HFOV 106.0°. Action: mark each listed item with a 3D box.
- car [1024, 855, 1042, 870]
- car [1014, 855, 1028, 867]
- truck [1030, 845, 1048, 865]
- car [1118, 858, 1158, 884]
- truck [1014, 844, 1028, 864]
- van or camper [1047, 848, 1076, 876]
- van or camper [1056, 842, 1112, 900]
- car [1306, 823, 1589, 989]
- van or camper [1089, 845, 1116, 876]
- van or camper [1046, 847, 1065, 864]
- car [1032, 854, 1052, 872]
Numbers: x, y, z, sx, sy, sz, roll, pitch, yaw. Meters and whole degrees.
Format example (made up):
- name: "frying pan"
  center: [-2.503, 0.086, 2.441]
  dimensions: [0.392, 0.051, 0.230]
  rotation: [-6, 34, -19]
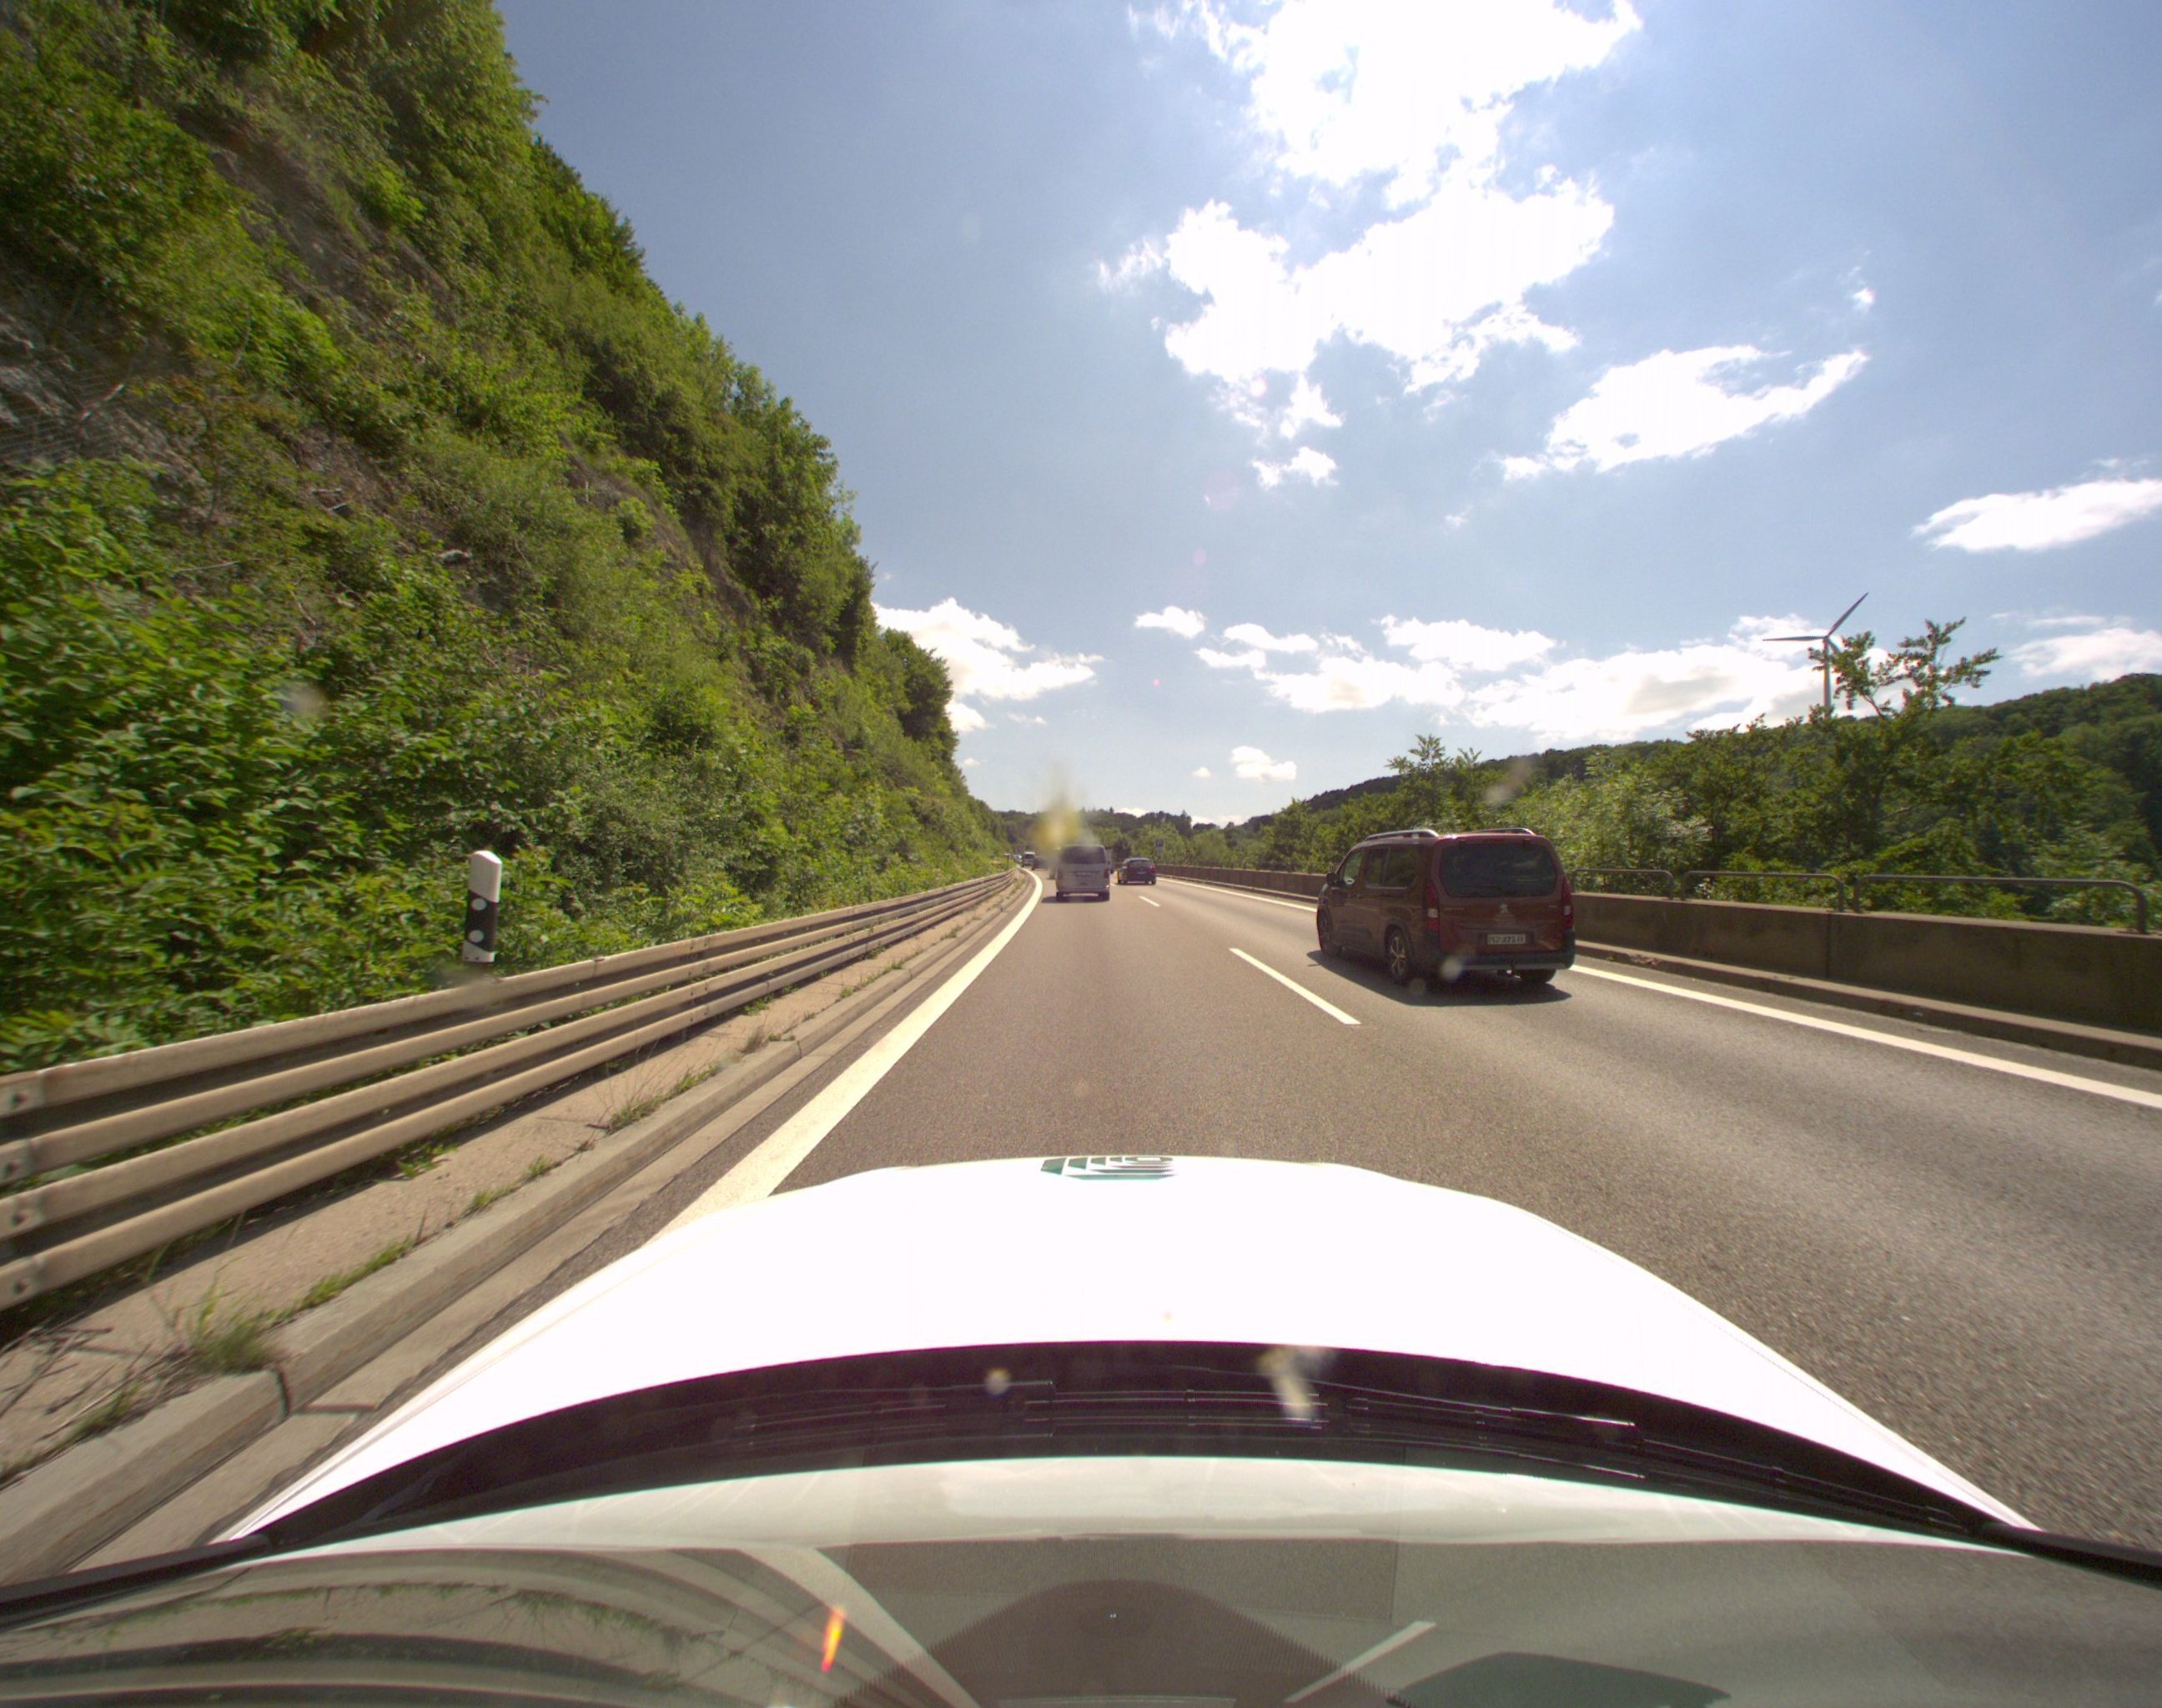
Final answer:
- name: "car"
  center: [-5.947, 1.005, 101.552]
  dimensions: [1.987, 1.817, 3.999]
  rotation: [0, 0, 0]
- name: "car"
  center: [-9.222, 1.048, 125.792]
  dimensions: [1.991, 1.915, 3.991]
  rotation: [0, 0, -6]
- name: "truck"
  center: [-9.510, 0.343, 187.083]
  dimensions: [3.278, 4.332, 7.735]
  rotation: [-1, -1, 3]
- name: "car"
  center: [3.096, 0.915, 45.021]
  dimensions: [1.765, 1.376, 3.588]
  rotation: [0, 0, -3]
- name: "truck"
  center: [-14.329, -0.032, 193.820]
  dimensions: [3.286, 4.519, 7.716]
  rotation: [0, 0, -5]
- name: "van or camper"
  center: [-2.790, 1.046, 113.070]
  dimensions: [3.274, 3.789, 8.090]
  rotation: [0, 0, -8]
- name: "van or camper"
  center: [0.083, 0.589, 29.508]
  dimensions: [1.870, 1.949, 4.292]
  rotation: [0, -1, -1]
- name: "car"
  center: [4.588, 0.596, 11.099]
  dimensions: [1.827, 1.784, 4.676]
  rotation: [0, -1, 1]
- name: "van or camper"
  center: [1.918, 0.586, 71.858]
  dimensions: [2.255, 2.551, 4.738]
  rotation: [-1, -1, 2]
- name: "van or camper"
  center: [-5.807, 0.329, 186.625]
  dimensions: [3.261, 3.789, 8.121]
  rotation: [0, 0, 4]
- name: "car"
  center: [-4.094, 0.946, 85.520]
  dimensions: [1.990, 1.817, 3.993]
  rotation: [0, 0, -5]
